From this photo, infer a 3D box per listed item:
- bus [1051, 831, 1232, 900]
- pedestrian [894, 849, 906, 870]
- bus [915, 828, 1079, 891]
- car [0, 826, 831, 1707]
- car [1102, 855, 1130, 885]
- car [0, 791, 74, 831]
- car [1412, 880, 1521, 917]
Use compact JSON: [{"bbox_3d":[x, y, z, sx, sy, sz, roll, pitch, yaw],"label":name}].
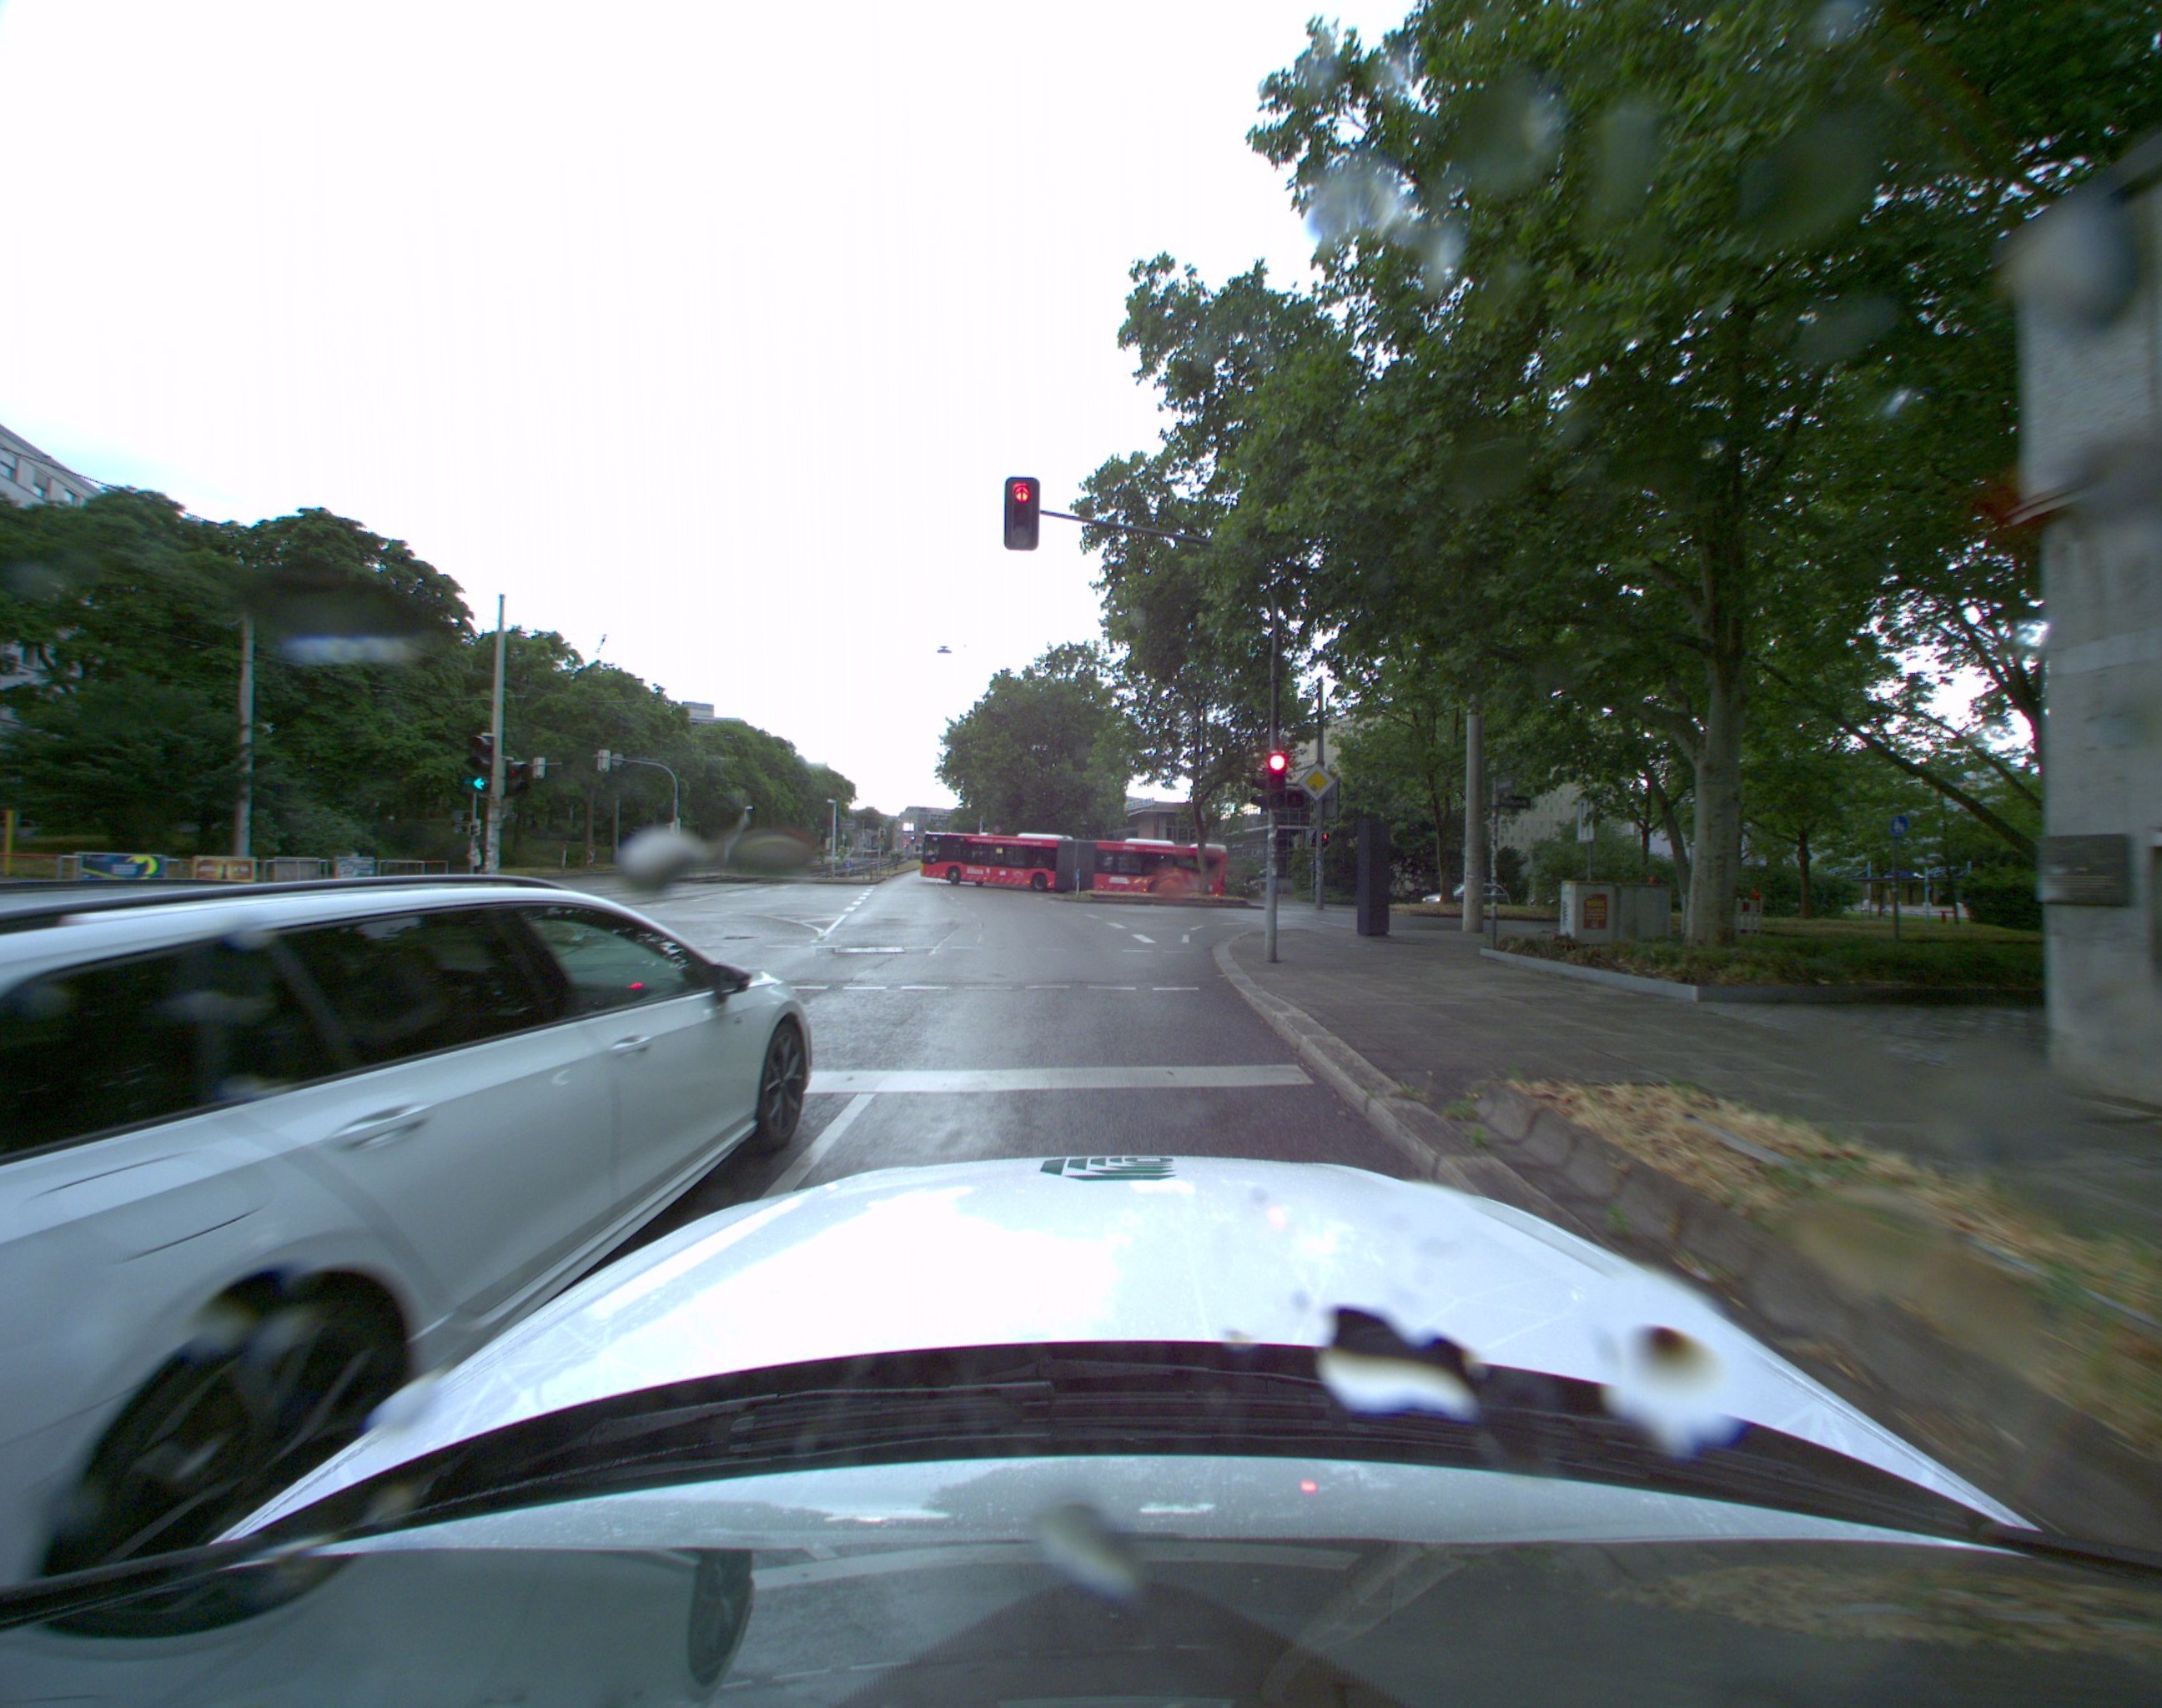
[{"bbox_3d":[3.172,0.599,42.962,9.114,3.111,2.666,3,-1,4],"label":"bus"},{"bbox_3d":[-14.474,0.421,65.158,0.737,1.640,0.869,3,-1,-5],"label":"pedestrian"},{"bbox_3d":[-4.878,0.262,46.128,9.336,3.111,2.574,2,-1,29],"label":"bus"},{"bbox_3d":[-2.349,0.735,2.587,1.673,1.576,4.254,1,0,2],"label":"car"},{"bbox_3d":[3.957,1.822,93.168,2.539,3.134,5.024,3,-1,-3],"label":"car"},{"bbox_3d":[-52.882,-2.133,40.439,2.005,1.794,4.172,3,-1,-28],"label":"car"},{"bbox_3d":[17.383,2.001,36.840,3.980,1.442,1.997,3,-1,-5],"label":"car"}]
